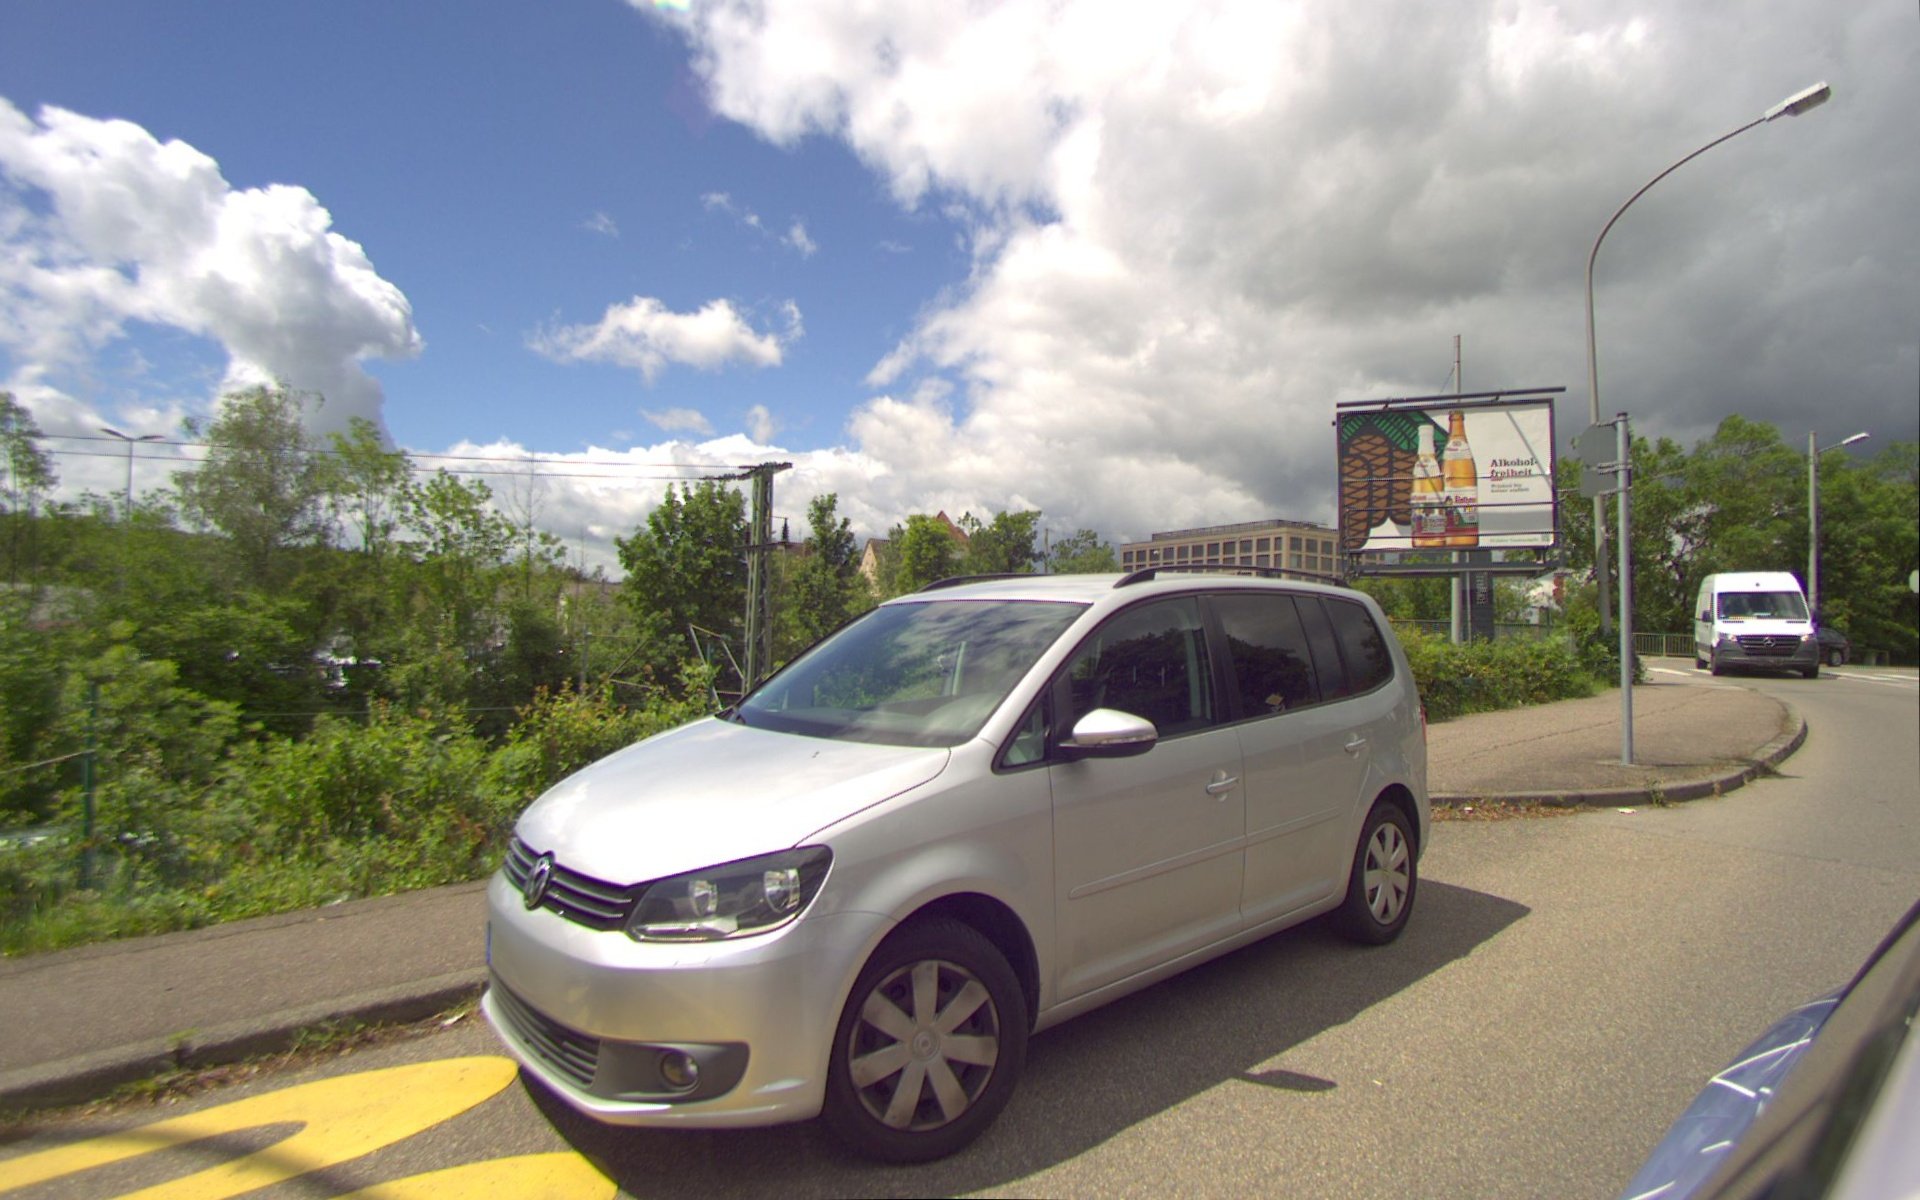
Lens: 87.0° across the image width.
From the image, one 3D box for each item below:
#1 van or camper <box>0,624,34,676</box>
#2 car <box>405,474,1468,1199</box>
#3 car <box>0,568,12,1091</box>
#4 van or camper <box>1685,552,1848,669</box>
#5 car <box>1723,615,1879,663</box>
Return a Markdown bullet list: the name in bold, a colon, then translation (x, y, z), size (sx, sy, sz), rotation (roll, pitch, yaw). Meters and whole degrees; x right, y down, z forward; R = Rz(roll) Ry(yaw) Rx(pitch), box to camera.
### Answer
- **van or camper**: translation (-52.204, 2.682, 52.964), size (5.200, 2.727, 1.928), rotation (-1, -2, -33)
- **car**: translation (0.308, 0.628, 4.119), size (4.234, 1.699, 1.707), rotation (1, -2, -42)
- **car**: translation (-3.599, 0.656, 0.495), size (4.494, 1.506, 1.707), rotation (1, -2, -42)
- **van or camper**: translation (20.332, 0.313, 25.823), size (2.174, 2.599, 5.867), rotation (2, -1, 29)
- **car**: translation (30.013, 1.401, 36.174), size (4.143, 1.493, 2.002), rotation (3, -3, -8)
